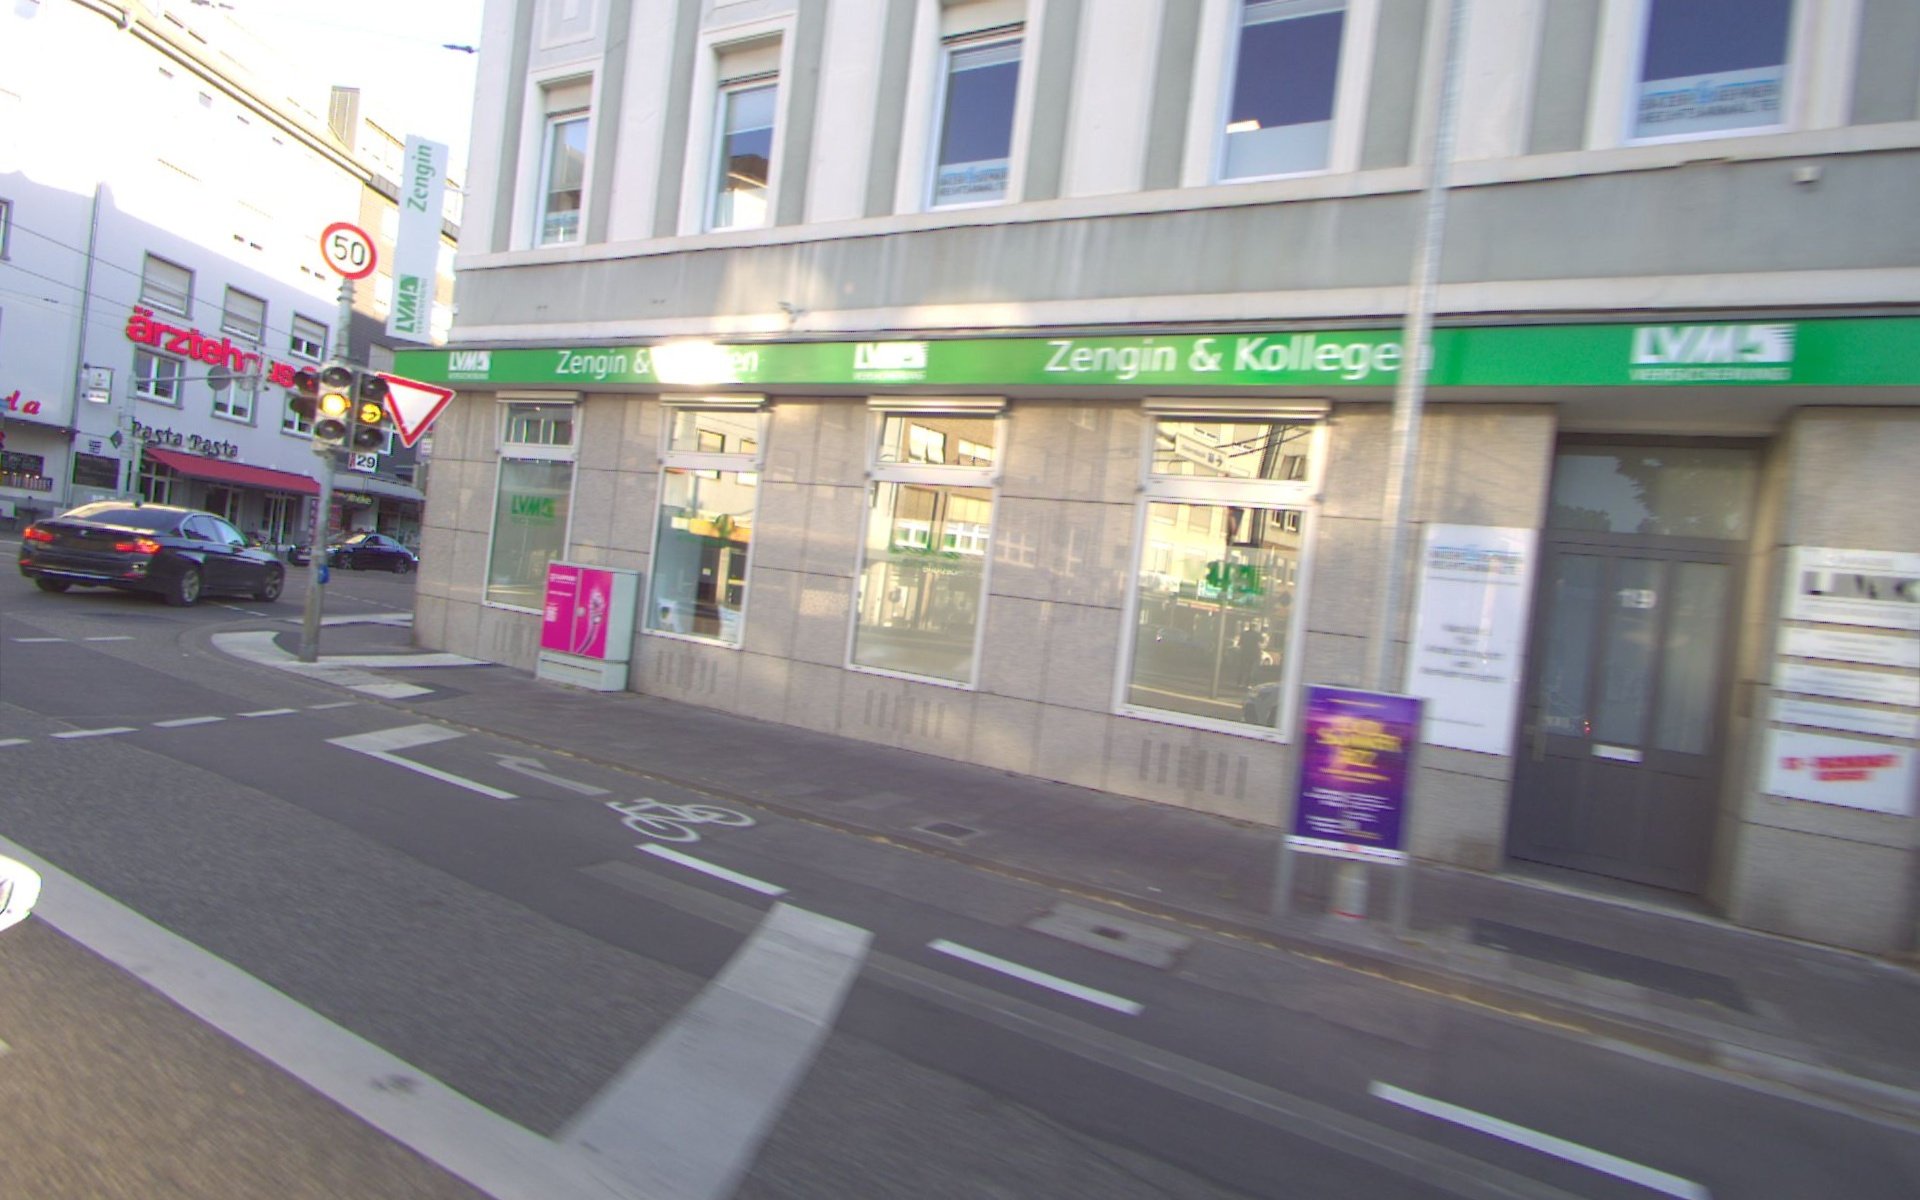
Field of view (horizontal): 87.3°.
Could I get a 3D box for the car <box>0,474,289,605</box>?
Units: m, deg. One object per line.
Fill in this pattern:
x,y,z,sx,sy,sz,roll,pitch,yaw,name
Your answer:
-12.255,-0.848,15.314,1.970,1.437,4.494,8,-1,-16,car
